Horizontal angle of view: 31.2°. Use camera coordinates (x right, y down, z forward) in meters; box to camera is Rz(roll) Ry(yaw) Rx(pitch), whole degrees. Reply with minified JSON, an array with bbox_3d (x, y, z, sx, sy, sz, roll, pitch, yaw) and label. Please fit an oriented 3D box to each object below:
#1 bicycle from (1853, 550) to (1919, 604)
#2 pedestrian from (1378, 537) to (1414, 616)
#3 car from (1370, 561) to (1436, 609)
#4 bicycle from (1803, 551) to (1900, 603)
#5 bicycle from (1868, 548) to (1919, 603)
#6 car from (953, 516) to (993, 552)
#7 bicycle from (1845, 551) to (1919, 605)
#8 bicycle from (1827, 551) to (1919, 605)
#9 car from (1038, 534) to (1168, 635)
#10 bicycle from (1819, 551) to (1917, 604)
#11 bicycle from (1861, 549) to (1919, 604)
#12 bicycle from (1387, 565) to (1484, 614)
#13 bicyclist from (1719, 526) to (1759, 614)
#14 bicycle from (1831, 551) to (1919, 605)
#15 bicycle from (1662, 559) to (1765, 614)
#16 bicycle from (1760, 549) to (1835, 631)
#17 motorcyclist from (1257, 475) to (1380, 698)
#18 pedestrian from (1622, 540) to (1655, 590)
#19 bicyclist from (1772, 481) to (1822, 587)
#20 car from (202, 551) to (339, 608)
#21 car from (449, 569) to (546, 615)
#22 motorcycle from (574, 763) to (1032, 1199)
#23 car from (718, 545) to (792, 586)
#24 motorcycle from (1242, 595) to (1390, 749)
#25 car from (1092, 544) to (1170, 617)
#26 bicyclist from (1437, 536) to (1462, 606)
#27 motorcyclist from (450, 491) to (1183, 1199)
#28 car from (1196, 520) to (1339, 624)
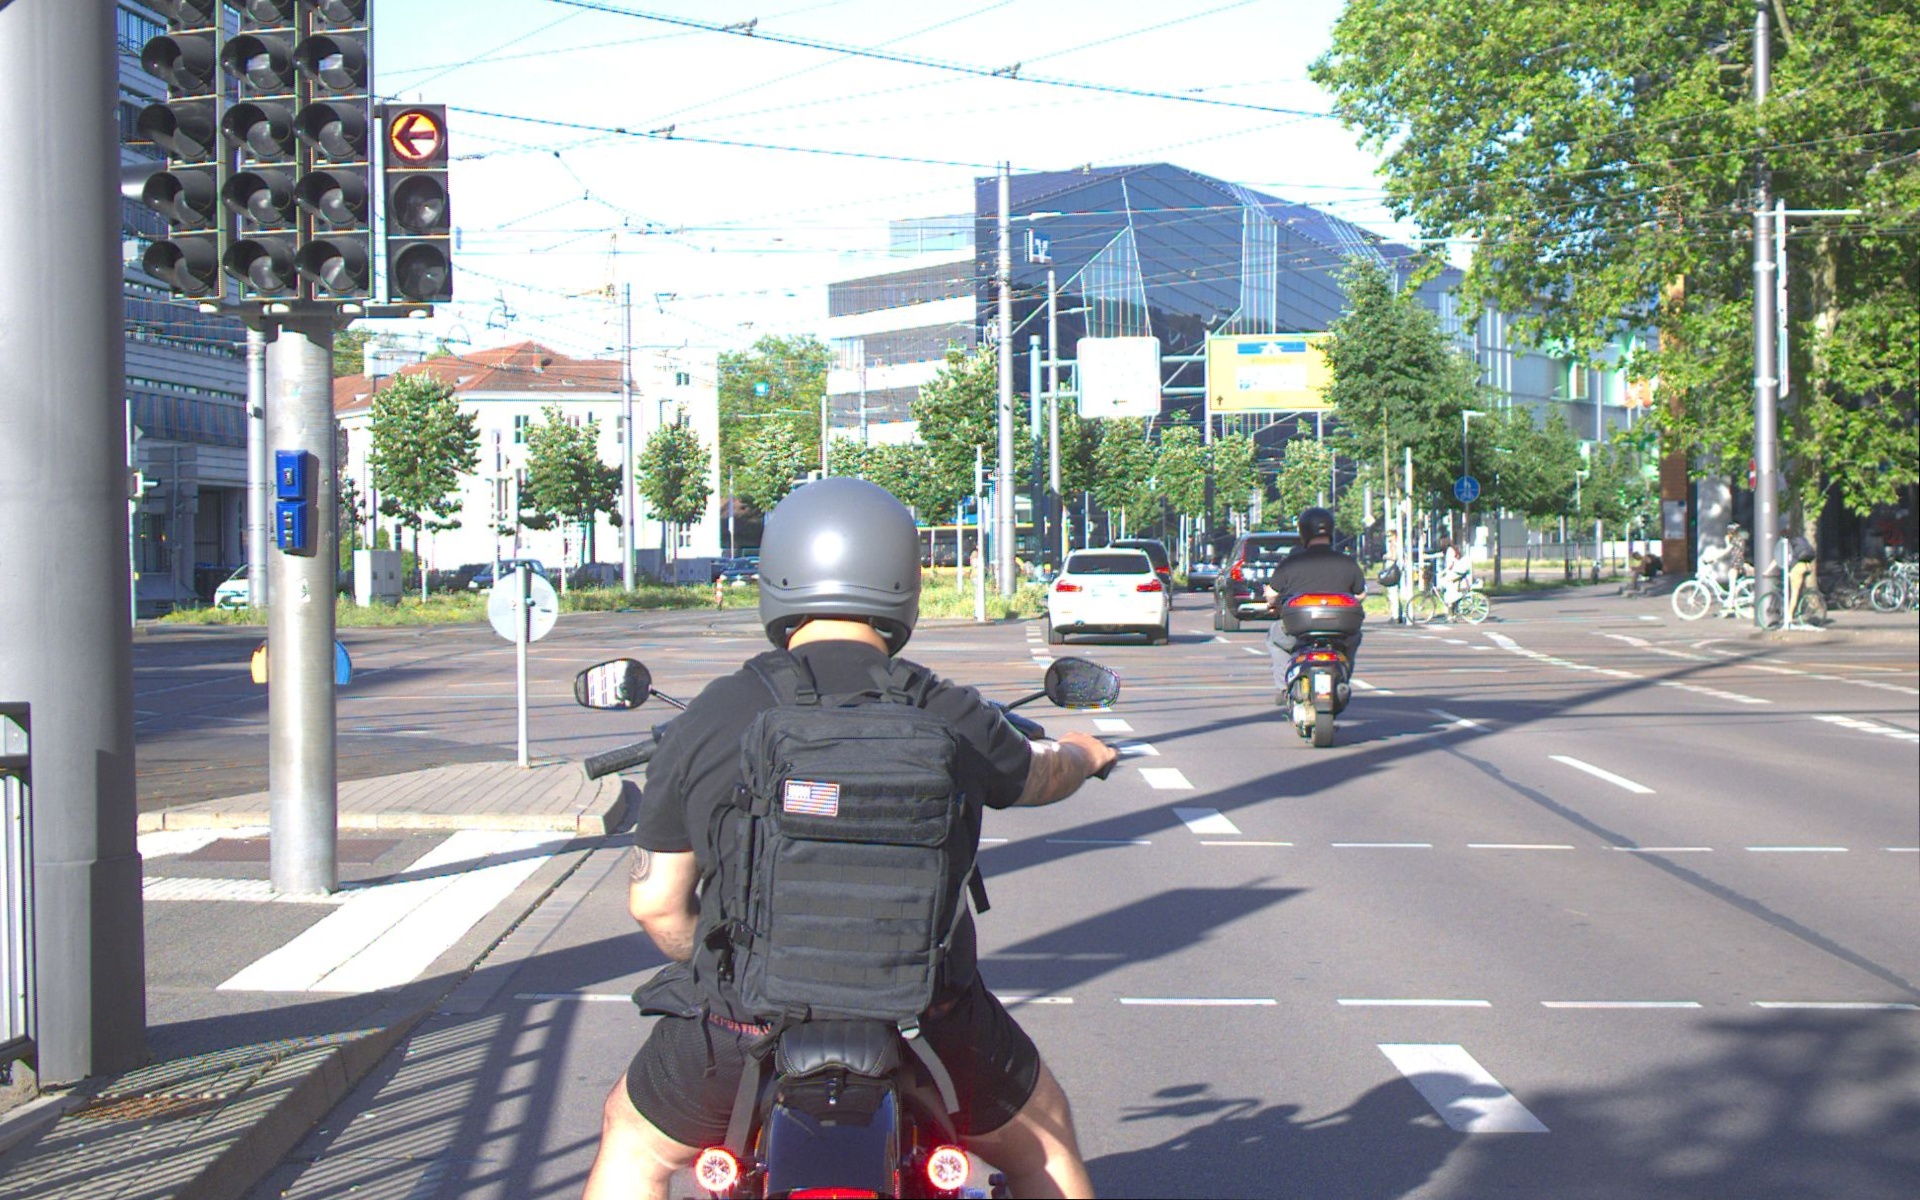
[{"bbox_3d":[18.474,-0.439,67.323,1.880,1.043,0.360,1,0,-1],"label":"bicycle"},{"bbox_3d":[8.682,-0.463,68.495,0.587,1.551,0.489,1,0,-8],"label":"pedestrian"},{"bbox_3d":[16.089,-0.542,124.692,1.804,1.672,4.038,1,0,16],"label":"car"},{"bbox_3d":[18.323,-0.474,70.647,1.880,1.043,0.360,1,1,-1],"label":"bicycle"},{"bbox_3d":[18.350,-0.457,65.724,1.880,1.043,0.360,1,0,-1],"label":"bicycle"},{"bbox_3d":[0.809,-3.920,205.061,1.994,2.007,4.299,1,0,5],"label":"car"},{"bbox_3d":[18.467,-0.430,67.880,1.880,1.043,0.360,1,1,-1],"label":"bicycle"},{"bbox_3d":[18.406,-0.449,68.997,1.880,1.043,0.360,1,1,-1],"label":"bicycle"},{"bbox_3d":[2.142,-0.230,52.524,1.731,1.452,4.418,1,0,-1],"label":"car"},{"bbox_3d":[18.352,-0.459,69.496,1.880,1.043,0.360,1,1,-1],"label":"bicycle"},{"bbox_3d":[18.417,-0.448,66.507,1.880,1.043,0.360,1,0,-1],"label":"bicycle"},{"bbox_3d":[9.280,-0.209,67.113,1.825,0.922,0.358,1,0,-8],"label":"bicycle"},{"bbox_3d":[14.763,-0.566,65.179,0.688,1.667,0.540,0,0,19],"label":"bicyclist"},{"bbox_3d":[18.347,-0.435,68.510,1.880,1.043,0.360,1,0,-1],"label":"bicycle"},{"bbox_3d":[14.316,-0.251,65.324,1.872,1.040,0.536,0,0,19],"label":"bicycle"},{"bbox_3d":[14.506,-0.175,59.606,0.726,1.362,2.917,1,0,3],"label":"bicycle"},{"bbox_3d":[2.576,-0.095,24.759,0.796,1.574,0.529,1,0,-1],"label":"motorcyclist"},{"bbox_3d":[17.902,-0.915,90.735,0.819,1.309,0.637,1,0,9],"label":"pedestrian"},{"bbox_3d":[14.516,-1.139,59.629,0.697,1.802,0.728,1,0,4],"label":"bicyclist"},{"bbox_3d":[-18.087,-0.555,90.353,1.826,1.425,4.527,0,1,13],"label":"car"},{"bbox_3d":[-14.879,-0.245,110.785,1.826,1.426,4.239,1,0,11],"label":"car"},{"bbox_3d":[-0.226,0.866,5.672,0.600,1.032,2.234,1,1,-1],"label":"motorcycle"},{"bbox_3d":[-7.842,-1.311,131.774,1.750,1.519,3.997,1,0,13],"label":"car"},{"bbox_3d":[2.563,0.497,24.995,0.804,1.047,2.376,1,0,0],"label":"motorcycle"},{"bbox_3d":[4.089,-0.454,82.603,1.803,1.672,4.040,1,0,2],"label":"car"},{"bbox_3d":[9.565,-0.564,67.156,0.380,1.368,0.345,1,0,-9],"label":"bicyclist"},{"bbox_3d":[-0.205,0.634,5.299,1.030,1.588,0.873,0,1,-1],"label":"motorcyclist"},{"bbox_3d":[5.409,-0.538,60.977,1.731,1.726,4.613,1,2,-5],"label":"car"}]
